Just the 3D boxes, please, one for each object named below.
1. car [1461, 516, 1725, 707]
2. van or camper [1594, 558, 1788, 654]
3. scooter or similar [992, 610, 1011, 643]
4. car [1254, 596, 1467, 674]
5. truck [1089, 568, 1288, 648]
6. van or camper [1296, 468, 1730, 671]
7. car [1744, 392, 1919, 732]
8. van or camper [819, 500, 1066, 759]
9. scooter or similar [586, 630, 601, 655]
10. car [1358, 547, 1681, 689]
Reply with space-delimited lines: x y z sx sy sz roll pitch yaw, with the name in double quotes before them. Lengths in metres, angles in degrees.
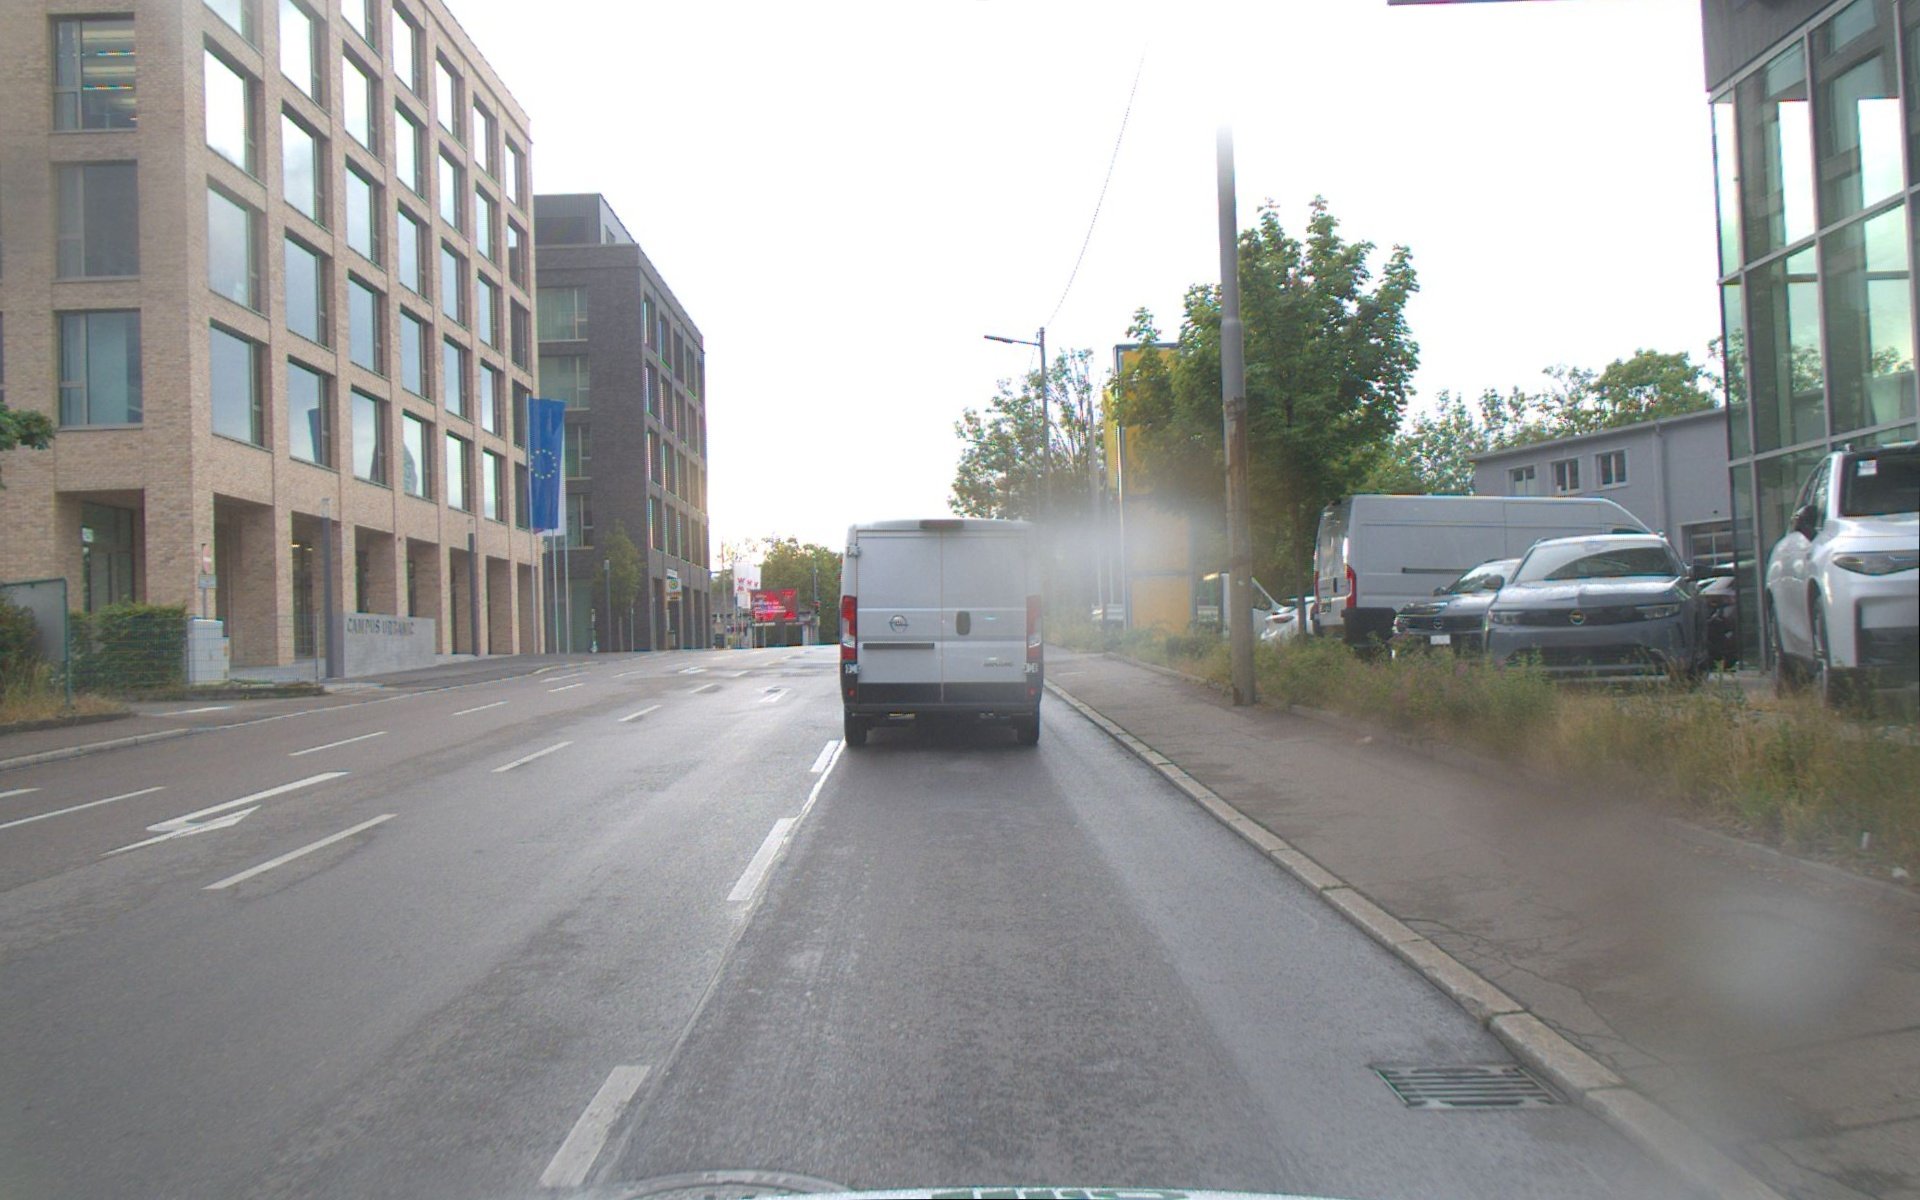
"car" 6.184 0.097 15.816 1.872 1.480 4.567 -4 -1 26
"van or camper" 22.193 0.166 50.252 5.190 2.533 2.275 -3 1 -19
"scooter or similar" 2.024 1.288 81.609 0.428 1.615 1.263 -1 0 -23
"car" 8.170 0.693 33.979 3.906 1.453 1.894 -1 0 -1
"truck" 6.200 0.212 45.372 5.045 2.049 2.344 -1 0 -4
"van or camper" 8.064 -0.440 24.554 5.620 2.771 2.351 -1 0 -2
"car" 6.275 -0.248 10.497 1.953 1.740 4.578 -4 -1 22
"van or camper" -0.177 0.275 18.210 2.292 2.398 5.199 -1 0 0
"scooter or similar" -16.257 1.900 73.377 0.343 1.090 1.428 -1 -2 0
"car" 6.964 0.183 20.328 4.484 1.480 1.885 -2 -1 -44
